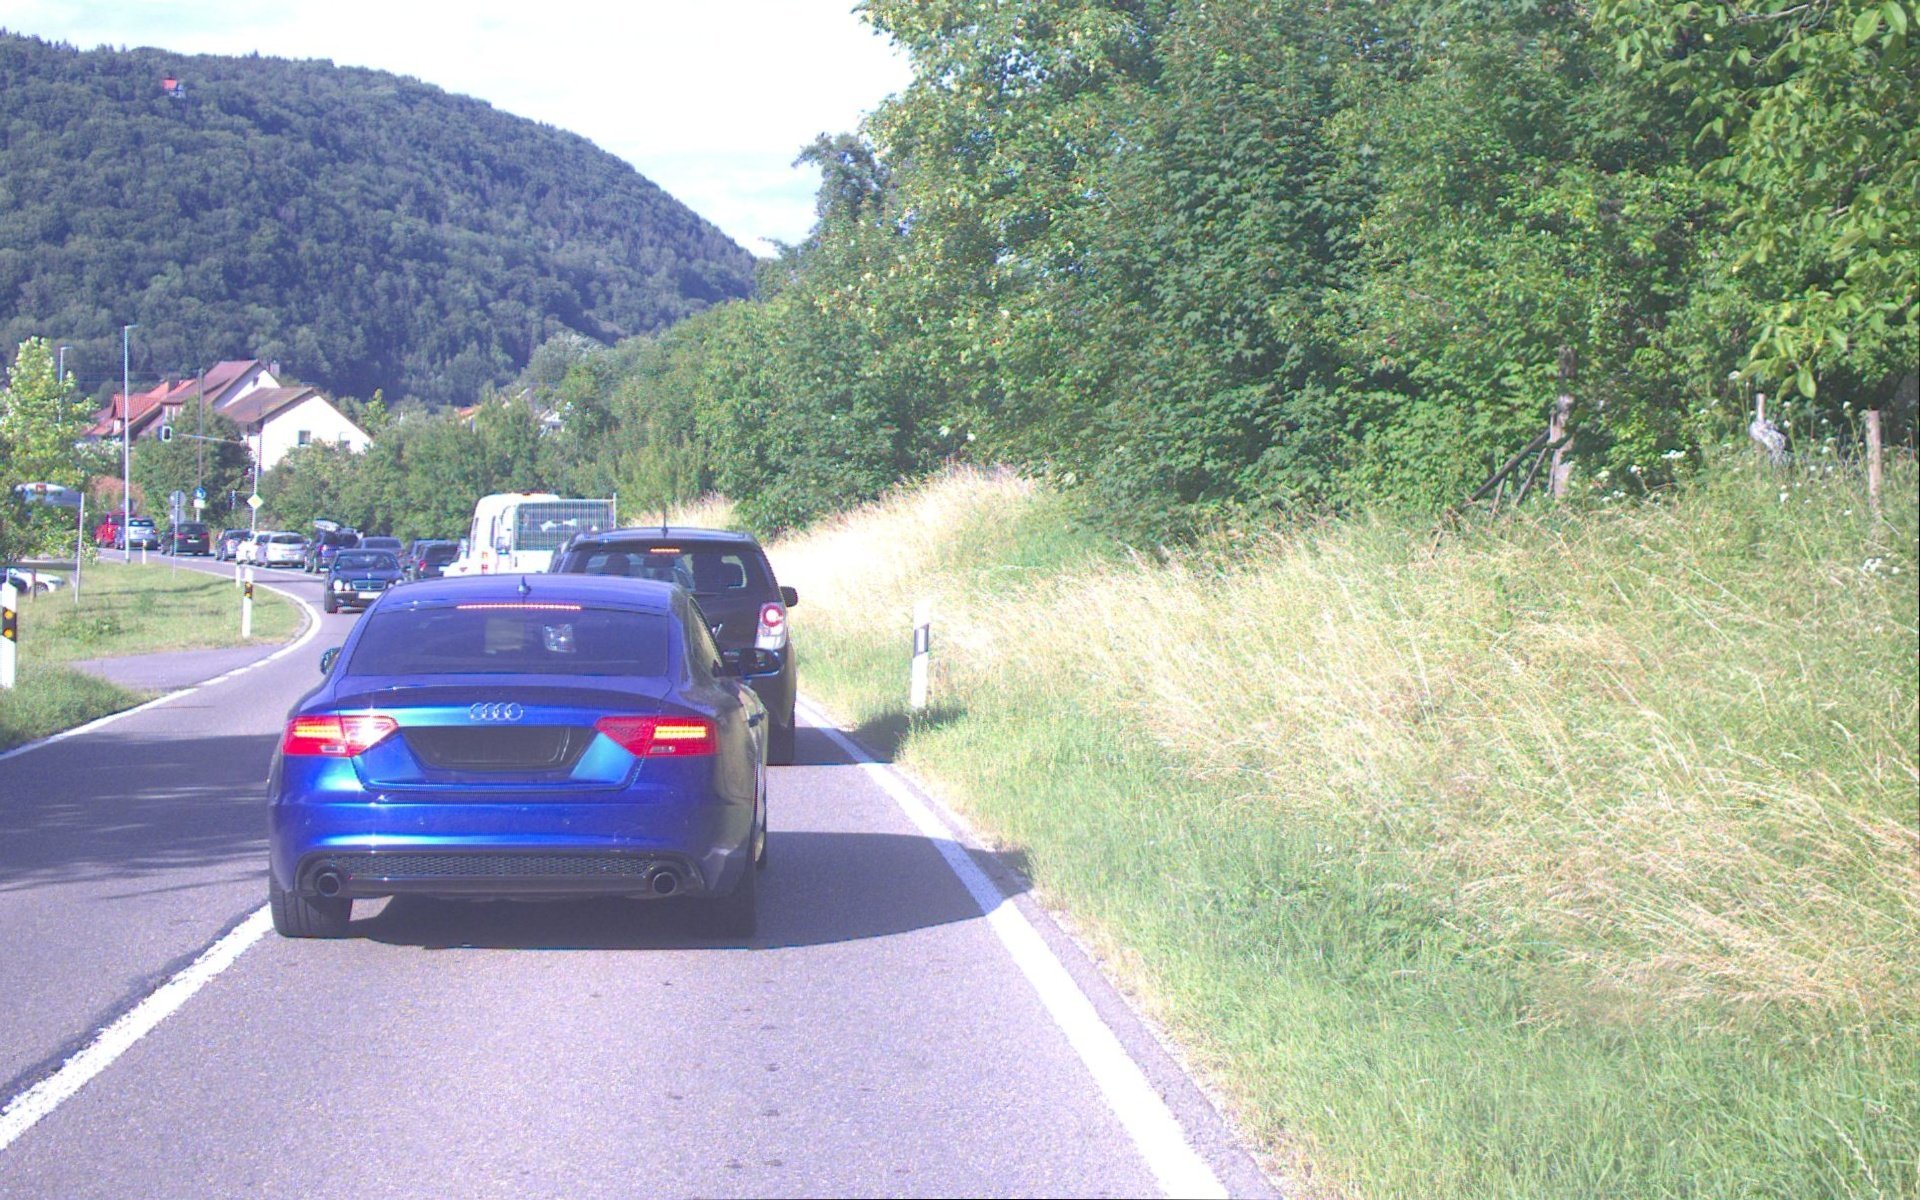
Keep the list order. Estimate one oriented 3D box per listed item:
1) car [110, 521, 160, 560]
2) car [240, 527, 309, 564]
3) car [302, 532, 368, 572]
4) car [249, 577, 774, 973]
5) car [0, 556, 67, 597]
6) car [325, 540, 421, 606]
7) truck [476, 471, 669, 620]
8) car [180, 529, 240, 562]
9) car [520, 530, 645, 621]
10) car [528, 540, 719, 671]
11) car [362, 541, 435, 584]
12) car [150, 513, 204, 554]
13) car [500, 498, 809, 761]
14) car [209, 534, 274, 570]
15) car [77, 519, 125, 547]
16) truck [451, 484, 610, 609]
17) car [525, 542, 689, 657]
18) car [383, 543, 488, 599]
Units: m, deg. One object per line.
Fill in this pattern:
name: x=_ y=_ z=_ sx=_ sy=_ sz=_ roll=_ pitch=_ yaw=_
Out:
car: x=-43.986 y=-3.159 z=183.251 sx=1.993 sy=2.007 sz=4.001 roll=1 pitch=0 yaw=-22
car: x=-28.091 y=-2.235 z=140.872 sx=1.993 sy=1.477 sz=4.001 roll=1 pitch=0 yaw=-23
car: x=-23.635 y=-1.801 z=129.956 sx=1.993 sy=1.477 sz=4.001 roll=1 pitch=0 yaw=-17
car: x=-1.679 y=0.600 z=14.057 sx=1.793 sy=1.355 sz=4.001 roll=0 pitch=1 yaw=-3
car: x=-37.365 y=-0.939 z=135.263 sx=3.986 sy=1.548 sz=1.782 roll=1 pitch=0 yaw=-2
car: x=-12.735 y=-0.583 z=74.556 sx=1.993 sy=1.371 sz=4.001 roll=1 pitch=0 yaw=-10
truck: x=-7.737 y=-1.071 z=67.453 sx=2.863 sy=2.656 sz=10.396 roll=1 pitch=1 yaw=-11
car: x=-34.493 y=-2.482 z=158.122 sx=1.993 sy=1.477 sz=4.001 roll=1 pitch=0 yaw=-23
car: x=-6.444 y=-0.419 z=58.373 sx=1.993 sy=1.477 sz=4.001 roll=1 pitch=0 yaw=-8
car: x=-3.854 y=0.040 z=38.853 sx=1.993 sy=1.382 sz=4.001 roll=1 pitch=0 yaw=-7
car: x=-19.610 y=-1.309 z=119.914 sx=1.993 sy=1.477 sz=4.001 roll=1 pitch=0 yaw=-17
car: x=-38.994 y=-3.324 z=171.127 sx=1.993 sy=2.007 sz=4.001 roll=1 pitch=1 yaw=-22
car: x=-2.089 y=0.176 z=24.505 sx=1.993 sy=1.696 sz=4.000 roll=1 pitch=0 yaw=-2
car: x=-30.903 y=-2.056 z=147.854 sx=1.993 sy=1.477 sz=4.001 roll=1 pitch=0 yaw=-23
car: x=-47.816 y=-3.719 z=191.403 sx=1.993 sy=1.477 sz=4.001 roll=1 pitch=0 yaw=-23
truck: x=-10.042 y=-1.240 z=79.396 sx=2.863 sy=2.656 sz=10.648 roll=1 pitch=1 yaw=-11
car: x=-4.872 y=-0.021 z=47.053 sx=1.993 sy=1.477 sz=4.001 roll=1 pitch=0 yaw=-9
car: x=-14.202 y=-0.791 z=92.891 sx=1.993 sy=1.477 sz=4.001 roll=1 pitch=0 yaw=-21
